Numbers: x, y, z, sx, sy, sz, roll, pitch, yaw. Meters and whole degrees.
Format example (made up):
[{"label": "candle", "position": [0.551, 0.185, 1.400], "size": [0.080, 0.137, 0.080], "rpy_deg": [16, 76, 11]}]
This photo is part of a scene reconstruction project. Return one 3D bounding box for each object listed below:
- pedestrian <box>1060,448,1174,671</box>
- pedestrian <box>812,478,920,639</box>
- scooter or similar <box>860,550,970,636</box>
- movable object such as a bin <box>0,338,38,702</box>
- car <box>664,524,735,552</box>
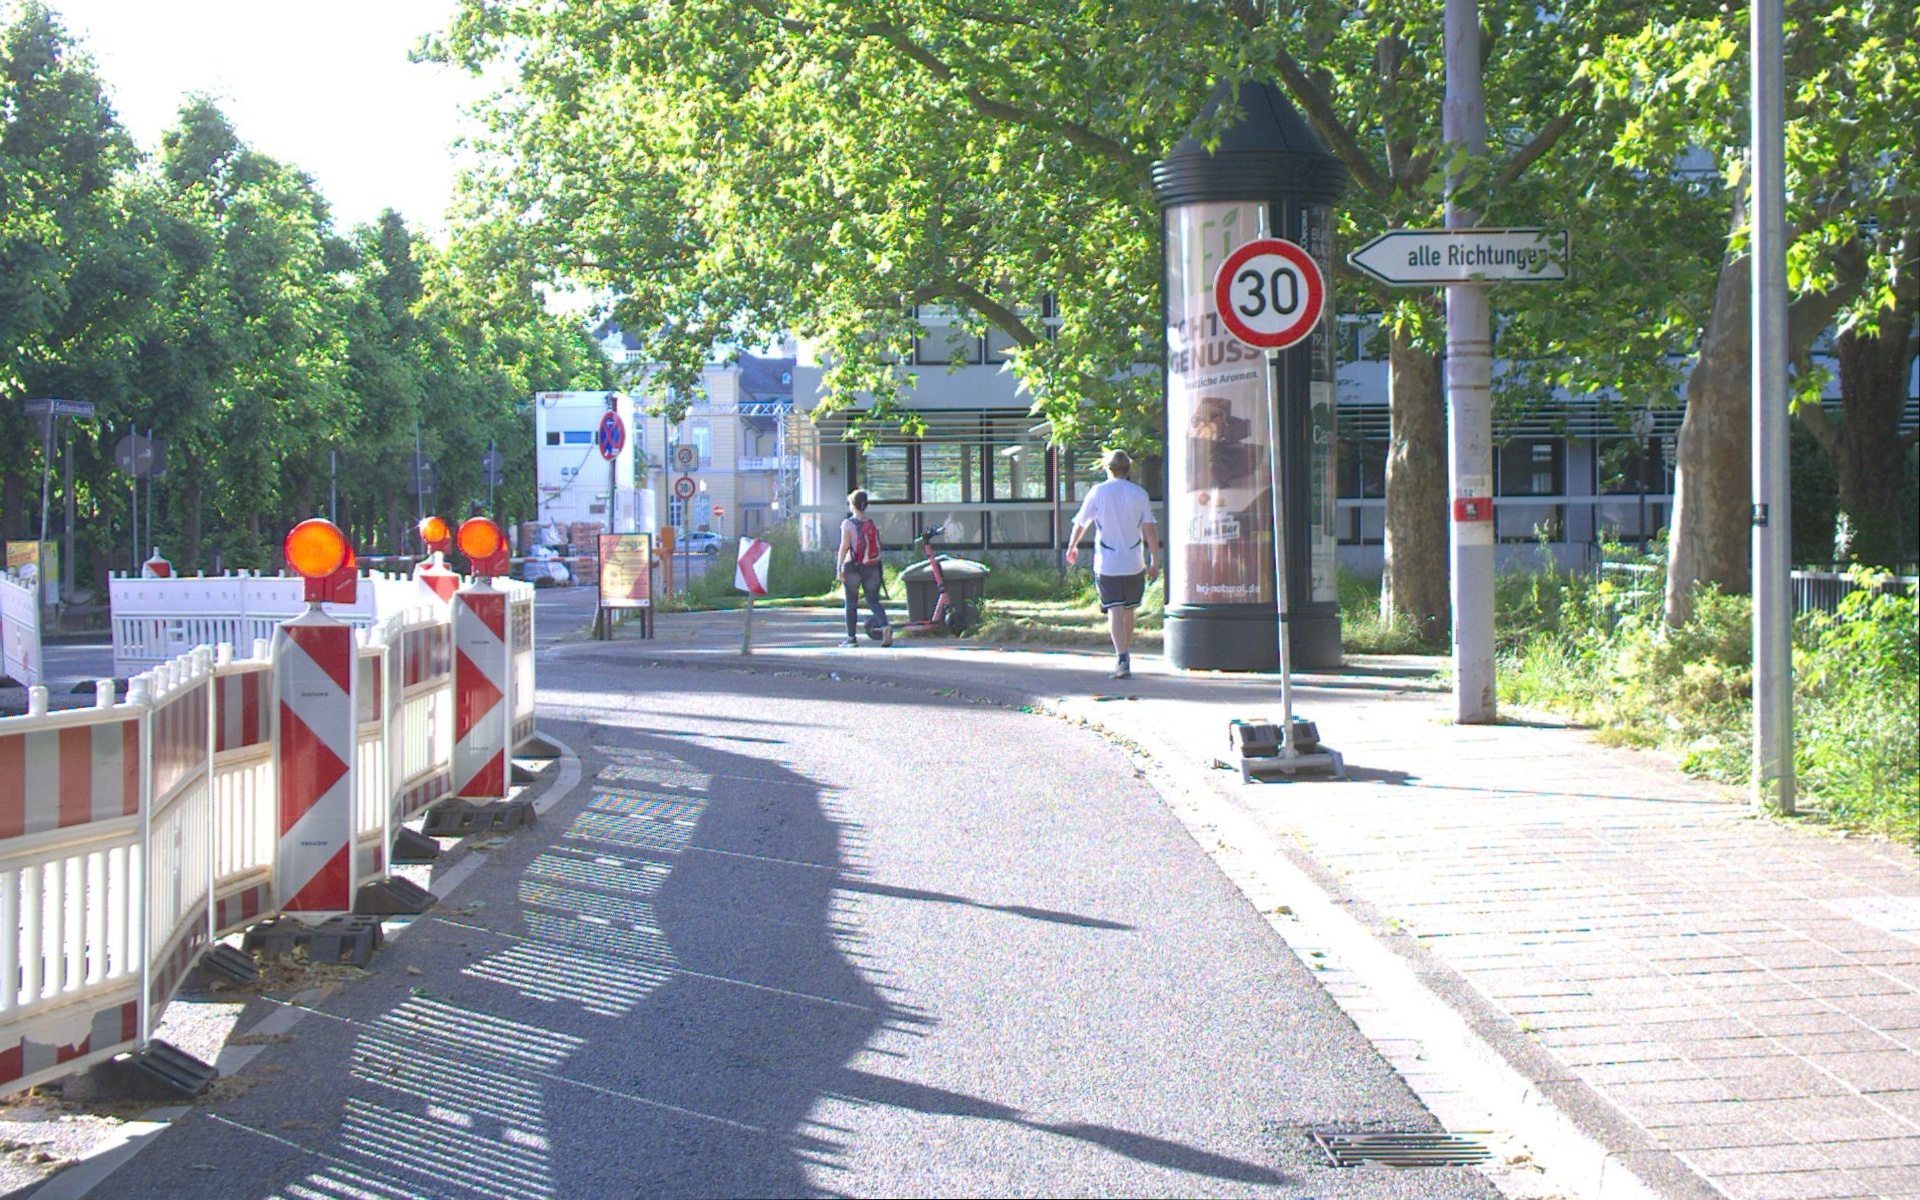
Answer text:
[{"label": "pedestrian", "position": [1.300, -0.350, 28.683], "size": [0.745, 1.806, 1.134], "rpy_deg": [1, 2, -6]}, {"label": "pedestrian", "position": [-0.960, -0.422, 34.950], "size": [0.708, 1.618, 0.939], "rpy_deg": [-1, 1, -32]}, {"label": "scooter or similar", "position": [-0.502, -0.082, 38.347], "size": [1.146, 0.911, 0.419], "rpy_deg": [-2, 0, -8]}, {"label": "movable object such as a bin", "position": [-10.792, -0.623, 29.805], "size": [5.927, 3.021, 2.561], "rpy_deg": [0, 2, 43]}, {"label": "car", "position": [-17.046, -4.065, 224.823], "size": [4.557, 1.784, 2.000], "rpy_deg": [0, 1, -2]}]
